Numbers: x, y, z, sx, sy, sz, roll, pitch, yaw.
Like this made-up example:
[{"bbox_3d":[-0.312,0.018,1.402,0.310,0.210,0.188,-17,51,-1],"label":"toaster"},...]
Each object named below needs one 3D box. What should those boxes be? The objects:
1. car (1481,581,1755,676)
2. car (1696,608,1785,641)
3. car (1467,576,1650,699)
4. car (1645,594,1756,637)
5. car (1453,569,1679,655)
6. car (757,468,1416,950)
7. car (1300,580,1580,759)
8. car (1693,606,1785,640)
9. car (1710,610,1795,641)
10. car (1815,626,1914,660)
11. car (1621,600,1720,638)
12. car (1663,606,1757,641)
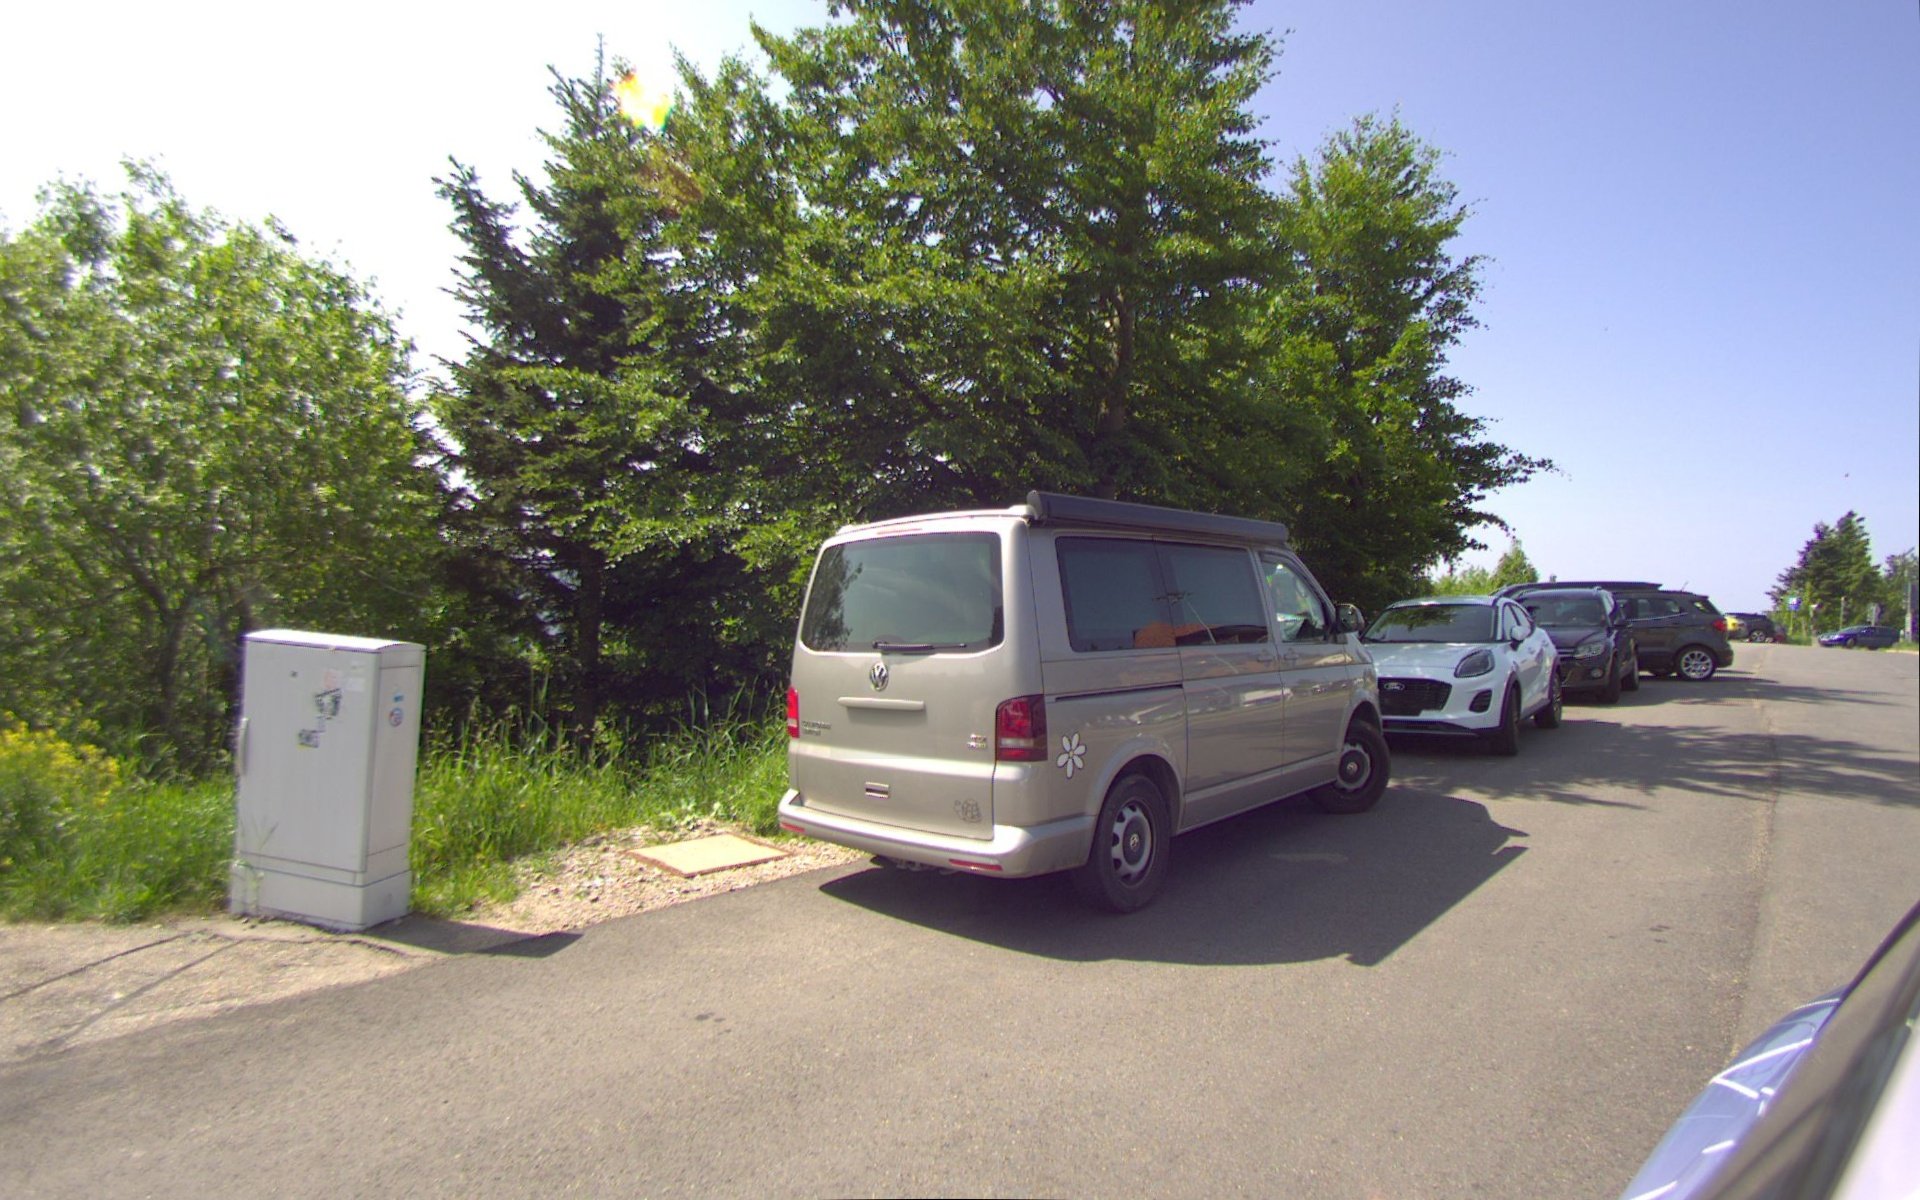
[{"bbox_3d":[12.173,0.525,19.062,3.951,1.639,1.863,-1,-1,21],"label":"car"},{"bbox_3d":[45.206,1.363,58.645,3.900,1.634,1.847,4,2,43],"label":"car"},{"bbox_3d":[9.357,0.521,15.672,1.867,1.639,3.943,-1,-1,39],"label":"car"},{"bbox_3d":[38.728,0.758,52.984,4.446,1.949,1.847,4,2,43],"label":"car"},{"bbox_3d":[14.571,0.307,24.660,4.406,1.950,1.863,-1,-1,21],"label":"car"},{"bbox_3d":[1.126,0.468,6.432,1.856,1.960,4.537,-2,-2,43],"label":"car"},{"bbox_3d":[5.342,0.623,11.005,1.867,1.567,3.943,-1,-1,39],"label":"car"},{"bbox_3d":[43.575,1.251,56.658,3.900,1.634,1.847,4,2,43],"label":"car"},{"bbox_3d":[48.082,1.514,61.428,3.900,1.634,1.847,4,2,43],"label":"car"},{"bbox_3d":[52.357,2.463,58.645,3.845,1.634,1.874,2,1,6],"label":"car"},{"bbox_3d":[36.210,0.940,51.628,3.900,1.634,1.847,4,2,43],"label":"car"},{"bbox_3d":[40.921,1.273,55.266,3.900,1.634,1.847,4,2,43],"label":"car"}]
